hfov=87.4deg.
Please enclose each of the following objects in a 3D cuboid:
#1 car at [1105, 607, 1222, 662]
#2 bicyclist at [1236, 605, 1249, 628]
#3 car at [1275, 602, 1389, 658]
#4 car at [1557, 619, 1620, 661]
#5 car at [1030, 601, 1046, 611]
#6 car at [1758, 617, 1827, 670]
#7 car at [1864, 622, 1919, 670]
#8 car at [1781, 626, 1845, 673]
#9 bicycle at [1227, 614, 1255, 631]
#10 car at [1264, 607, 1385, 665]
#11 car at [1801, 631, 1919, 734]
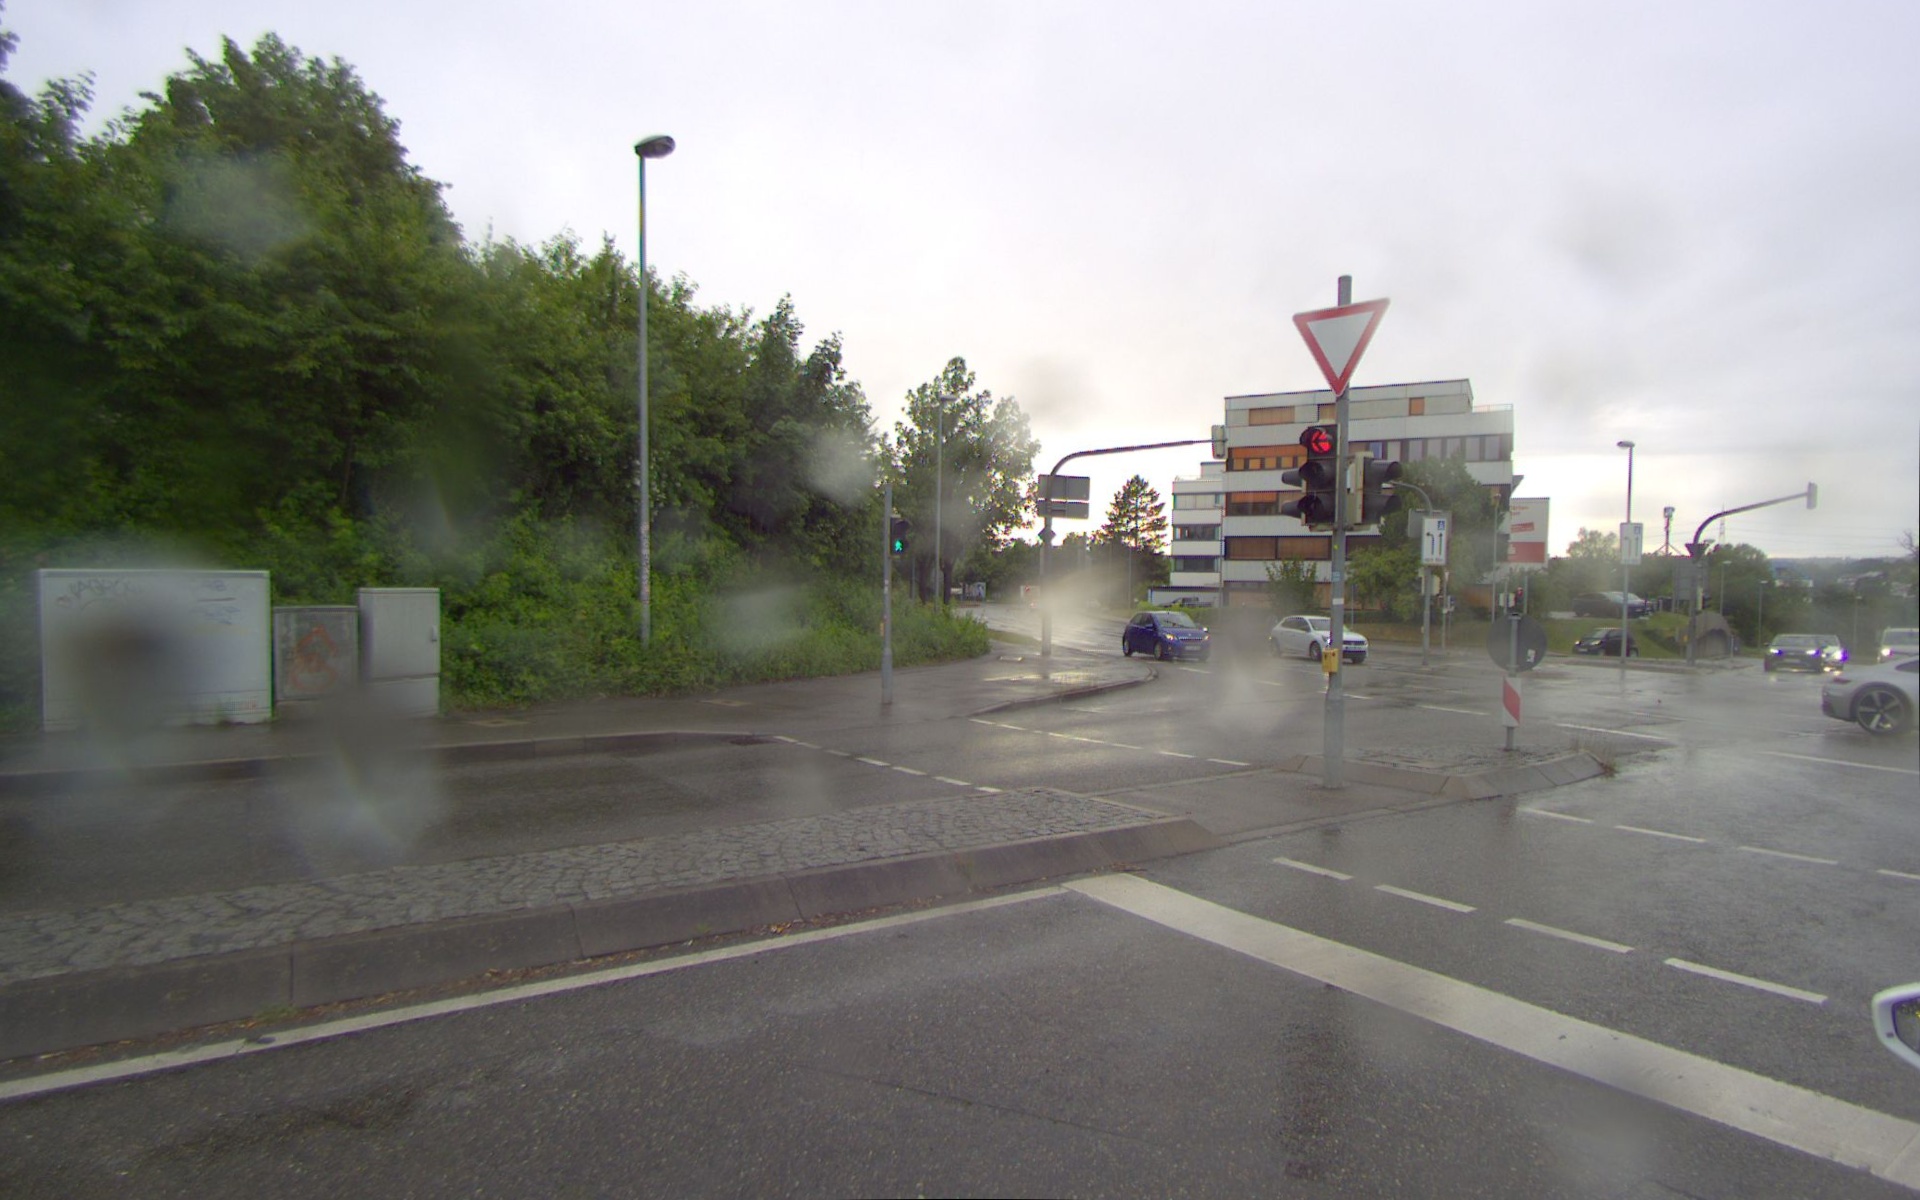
[{"bbox_3d":[6.204,1.021,31.104,1.816,1.534,3.984,1,0,-18],"label":"car"},{"bbox_3d":[17.874,1.050,63.521,0.597,1.465,0.540,1,0,-33],"label":"bicyclist"},{"bbox_3d":[13.692,1.062,37.281,1.966,1.865,4.143,1,1,-14],"label":"car"},{"bbox_3d":[31.824,1.970,50.833,1.972,1.920,3.977,2,1,43],"label":"car"},{"bbox_3d":[8.982,0.671,115.375,1.784,1.120,3.518,1,0,6],"label":"car"},{"bbox_3d":[33.603,1.706,40.496,1.971,1.920,3.978,2,1,42],"label":"car"},{"bbox_3d":[34.904,1.667,37.044,3.972,1.639,1.974,1,1,-43],"label":"car"},{"bbox_3d":[38.806,2.185,45.676,1.972,1.920,3.976,2,1,43],"label":"car"},{"bbox_3d":[17.802,1.419,63.632,0.603,1.066,1.764,1,1,-32],"label":"bicycle"},{"bbox_3d":[12.034,1.164,33.431,1.965,1.706,3.991,1,1,-11],"label":"car"},{"bbox_3d":[14.579,1.218,13.741,1.827,1.377,4.430,1,1,-17],"label":"car"}]
